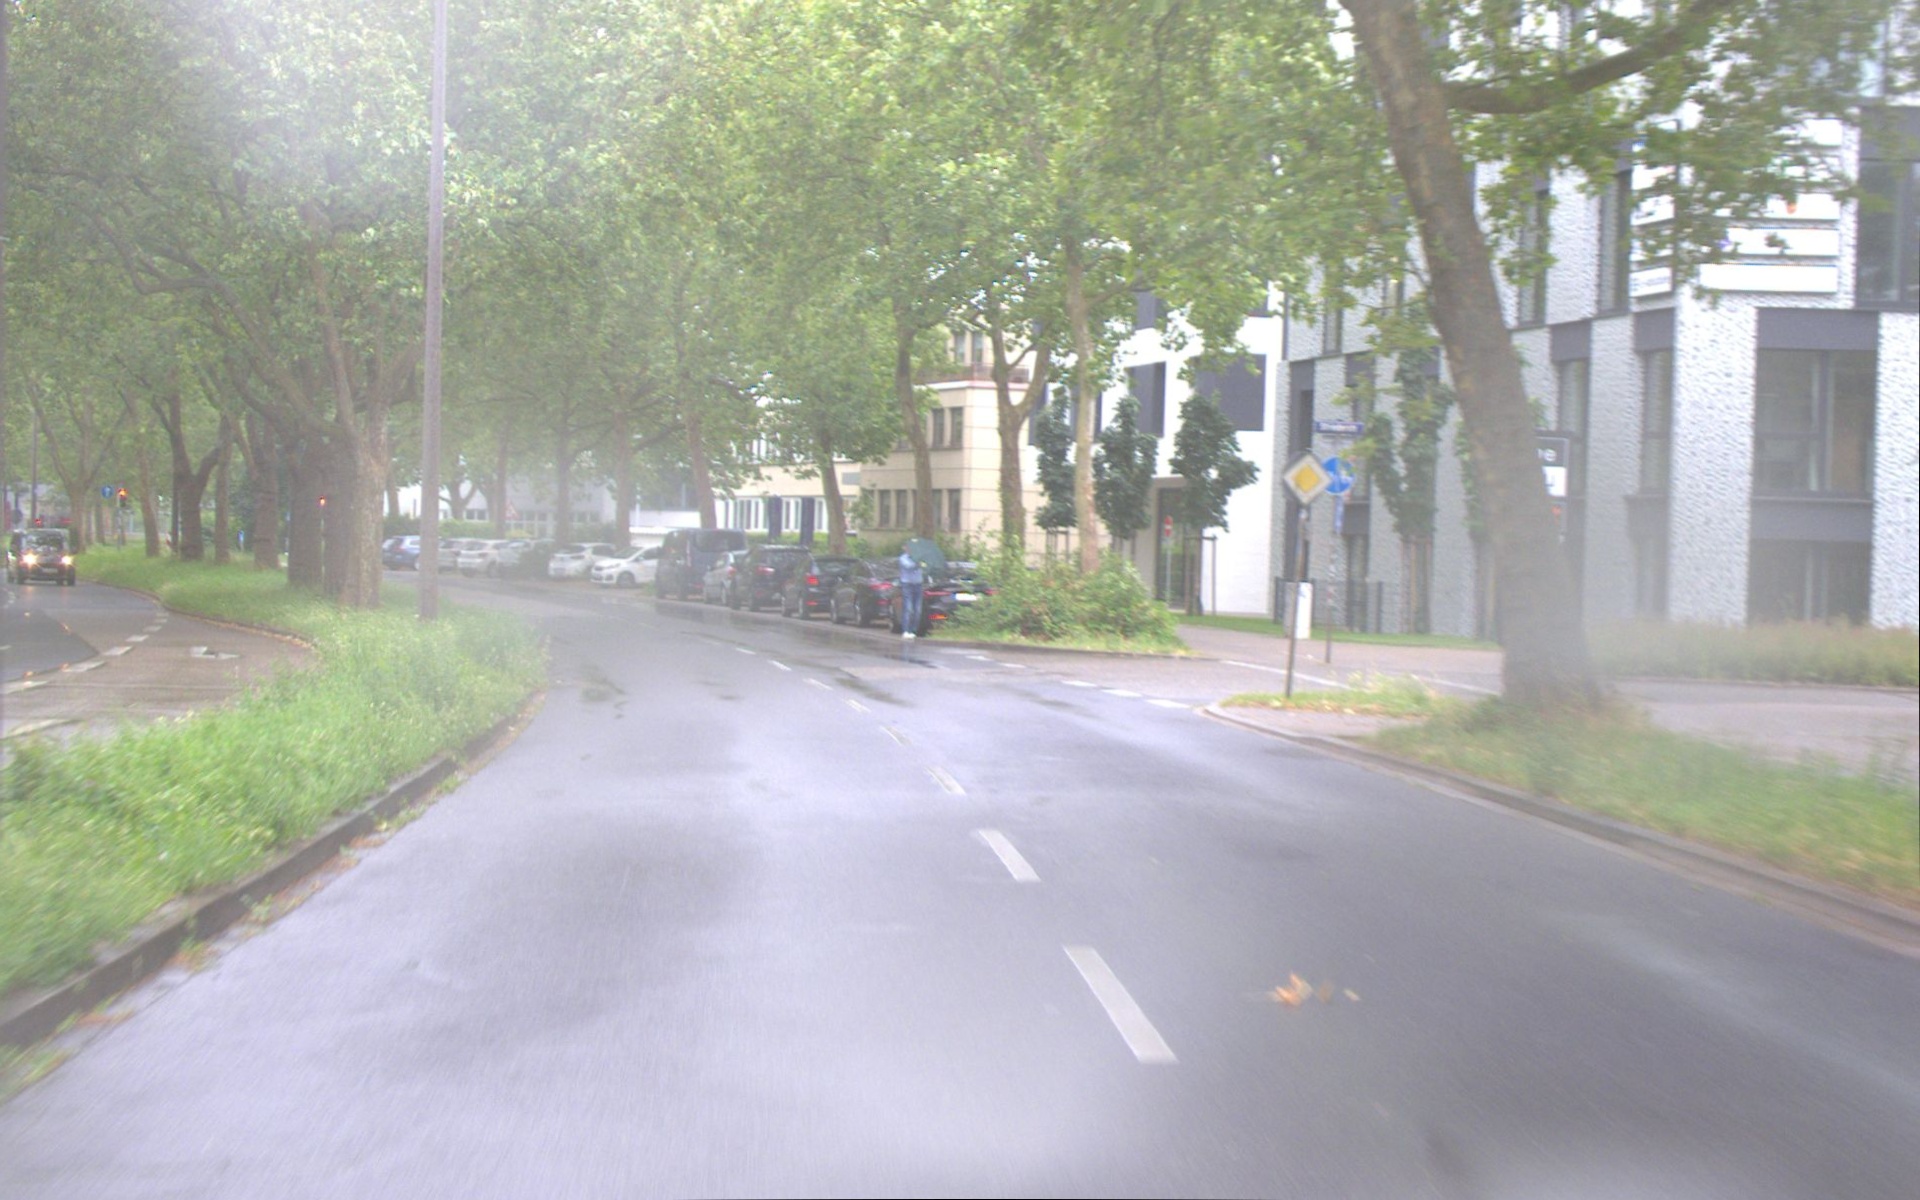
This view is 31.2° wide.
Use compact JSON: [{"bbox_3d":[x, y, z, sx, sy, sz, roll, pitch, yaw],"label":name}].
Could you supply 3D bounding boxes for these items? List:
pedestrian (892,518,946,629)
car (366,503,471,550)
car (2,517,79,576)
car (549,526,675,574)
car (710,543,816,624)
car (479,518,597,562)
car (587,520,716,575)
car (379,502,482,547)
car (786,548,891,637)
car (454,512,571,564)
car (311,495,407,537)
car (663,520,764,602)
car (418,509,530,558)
[{"bbox_3d":[-0.739,-0.485,61.774,0.854,1.943,0.709,2,2,-6],"label":"pedestrian"},{"bbox_3d":[-22.818,-3.099,144.875,3.986,1.813,2.001,1,2,-23],"label":"car"},{"bbox_3d":[-29.515,-1.716,110.292,1.993,1.711,4.002,1,2,-21],"label":"car"},{"bbox_3d":[-11.904,-1.717,117.538,3.866,1.488,1.888,1,2,-24],"label":"car"},{"bbox_3d":[-4.845,-0.428,84.152,1.993,1.776,4.002,1,2,-12],"label":"car"},{"bbox_3d":[-15.512,-2.207,126.402,3.866,1.499,1.888,1,2,-24],"label":"car"},{"bbox_3d":[-10.228,-1.748,113.950,3.866,1.645,1.889,1,2,-18],"label":"car"},{"bbox_3d":[-22.981,-3.277,149.121,3.986,1.813,2.001,1,2,-23],"label":"car"},{"bbox_3d":[-2.768,-0.194,77.212,1.993,1.776,4.001,2,2,-7],"label":"car"},{"bbox_3d":[-17.091,-2.359,131.300,3.986,1.825,2.001,1,3,-26],"label":"car"},{"bbox_3d":[-27.858,-3.887,159.416,3.986,1.813,2.001,1,2,-23],"label":"car"},{"bbox_3d":[-6.887,-1.116,95.768,2.121,2.081,4.002,1,2,-14],"label":"car"},{"bbox_3d":[-19.299,-2.637,136.501,3.986,1.813,2.001,1,2,-23],"label":"car"}]
